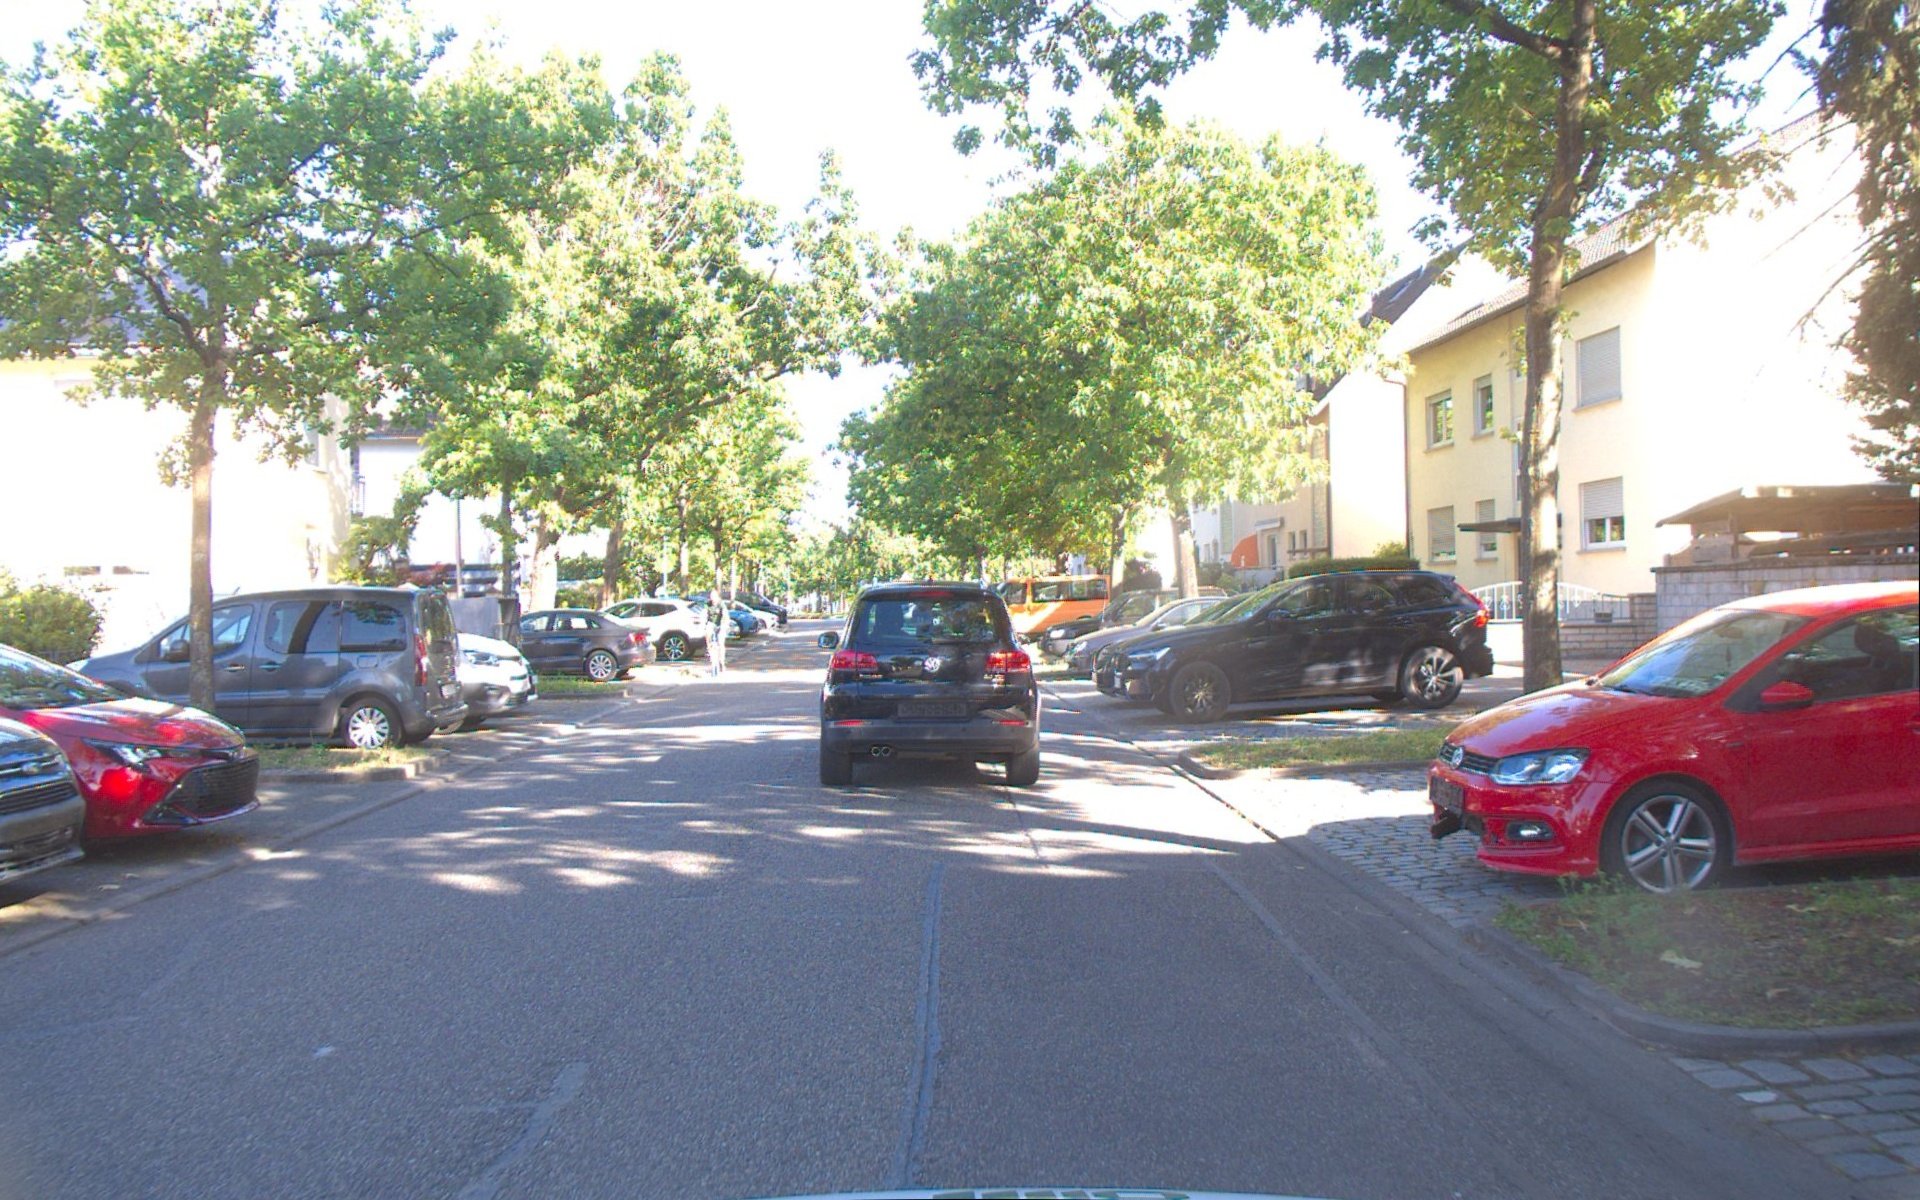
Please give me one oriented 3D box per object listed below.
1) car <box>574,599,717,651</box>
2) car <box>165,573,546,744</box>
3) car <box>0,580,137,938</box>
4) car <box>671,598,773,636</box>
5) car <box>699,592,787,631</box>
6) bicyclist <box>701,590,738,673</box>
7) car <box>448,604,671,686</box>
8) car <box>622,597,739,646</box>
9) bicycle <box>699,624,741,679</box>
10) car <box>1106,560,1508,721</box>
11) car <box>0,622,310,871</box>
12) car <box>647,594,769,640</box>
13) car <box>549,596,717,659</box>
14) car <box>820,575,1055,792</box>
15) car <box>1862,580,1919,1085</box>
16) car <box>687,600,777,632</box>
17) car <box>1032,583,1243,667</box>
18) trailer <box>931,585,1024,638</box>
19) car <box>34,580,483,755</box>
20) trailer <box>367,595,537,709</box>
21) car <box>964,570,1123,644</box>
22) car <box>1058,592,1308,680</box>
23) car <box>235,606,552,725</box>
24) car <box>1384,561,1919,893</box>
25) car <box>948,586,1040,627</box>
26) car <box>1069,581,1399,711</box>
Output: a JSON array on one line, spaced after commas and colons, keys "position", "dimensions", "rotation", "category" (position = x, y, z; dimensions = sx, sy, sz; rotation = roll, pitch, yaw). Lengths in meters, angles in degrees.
[{"position": [-9.329, 0.735, 49.294], "dimensions": [3.955, 1.448, 1.808], "rotation": [1, 0, -5], "category": "car"}, {"position": [-7.601, 0.721, 21.170], "dimensions": [4.154, 1.978, 1.998], "rotation": [-1, -1, -6], "category": "car"}, {"position": [-7.135, 0.776, 8.780], "dimensions": [4.580, 1.799, 1.794], "rotation": [1, 0, -3], "category": "car"}, {"position": [-10.068, 0.726, 70.132], "dimensions": [4.099, 1.518, 1.646], "rotation": [-1, -1, -4], "category": "car"}, {"position": [-11.848, 0.609, 90.627], "dimensions": [4.687, 1.950, 2.016], "rotation": [-2, 0, -6], "category": "car"}, {"position": [-5.109, 0.660, 35.167], "dimensions": [0.584, 1.703, 0.975], "rotation": [-3, 0, -2], "category": "bicyclist"}, {"position": [-8.063, 0.888, 33.571], "dimensions": [4.127, 1.497, 1.689], "rotation": [-2, 0, -4], "category": "car"}, {"position": [-9.940, 0.770, 59.128], "dimensions": [3.908, 1.623, 1.856], "rotation": [-1, -1, -4], "category": "car"}, {"position": [-5.079, 1.073, 35.097], "dimensions": [0.584, 1.077, 1.985], "rotation": [-4, 0, -2], "category": "bicycle"}, {"position": [4.178, 0.473, 20.387], "dimensions": [4.483, 1.675, 1.837], "rotation": [-3, 0, -3], "category": "car"}, {"position": [-7.009, 0.970, 11.301], "dimensions": [4.388, 1.526, 1.835], "rotation": [-1, 0, -4], "category": "car"}, {"position": [-9.670, 0.664, 63.637], "dimensions": [4.434, 1.660, 1.936], "rotation": [-1, -1, -4], "category": "car"}, {"position": [-8.641, 0.721, 43.936], "dimensions": [4.103, 1.594, 1.791], "rotation": [1, 0, -2], "category": "car"}, {"position": [-0.220, 0.654, 14.763], "dimensions": [1.801, 1.665, 3.956], "rotation": [0, 0, -2], "category": "car"}, {"position": [4.986, 0.564, 4.146], "dimensions": [4.412, 1.471, 1.837], "rotation": [-3, -1, -1], "category": "car"}, {"position": [-10.985, 0.782, 79.954], "dimensions": [4.191, 1.504, 1.767], "rotation": [0, 0, -4], "category": "car"}, {"position": [3.806, 0.526, 35.938], "dimensions": [4.252, 1.587, 1.866], "rotation": [-2, 0, -4], "category": "car"}, {"position": [0.584, 0.395, 56.397], "dimensions": [2.891, 1.693, 1.611], "rotation": [-2, 0, -10], "category": "trailer"}, {"position": [-7.661, 0.725, 18.443], "dimensions": [4.156, 1.801, 1.965], "rotation": [1, 0, -6], "category": "car"}, {"position": [-8.012, 0.801, 26.224], "dimensions": [2.189, 1.703, 1.475], "rotation": [-1, 0, 1], "category": "trailer"}, {"position": [2.575, 0.205, 51.903], "dimensions": [4.723, 2.120, 2.085], "rotation": [-2, 0, -4], "category": "car"}, {"position": [4.080, 0.648, 30.714], "dimensions": [4.338, 1.354, 1.690], "rotation": [-3, 0, -1], "category": "car"}, {"position": [-7.959, 0.895, 23.508], "dimensions": [3.908, 1.543, 1.689], "rotation": [-1, 0, -4], "category": "car"}, {"position": [4.391, 0.596, 8.912], "dimensions": [3.701, 1.510, 1.755], "rotation": [-2, -1, -1], "category": "car"}, {"position": [1.442, 0.265, 70.895], "dimensions": [3.805, 1.541, 1.661], "rotation": [-1, 5, -4], "category": "car"}, {"position": [3.784, 0.614, 23.314], "dimensions": [4.234, 1.556, 1.839], "rotation": [-3, 0, -4], "category": "car"}]
